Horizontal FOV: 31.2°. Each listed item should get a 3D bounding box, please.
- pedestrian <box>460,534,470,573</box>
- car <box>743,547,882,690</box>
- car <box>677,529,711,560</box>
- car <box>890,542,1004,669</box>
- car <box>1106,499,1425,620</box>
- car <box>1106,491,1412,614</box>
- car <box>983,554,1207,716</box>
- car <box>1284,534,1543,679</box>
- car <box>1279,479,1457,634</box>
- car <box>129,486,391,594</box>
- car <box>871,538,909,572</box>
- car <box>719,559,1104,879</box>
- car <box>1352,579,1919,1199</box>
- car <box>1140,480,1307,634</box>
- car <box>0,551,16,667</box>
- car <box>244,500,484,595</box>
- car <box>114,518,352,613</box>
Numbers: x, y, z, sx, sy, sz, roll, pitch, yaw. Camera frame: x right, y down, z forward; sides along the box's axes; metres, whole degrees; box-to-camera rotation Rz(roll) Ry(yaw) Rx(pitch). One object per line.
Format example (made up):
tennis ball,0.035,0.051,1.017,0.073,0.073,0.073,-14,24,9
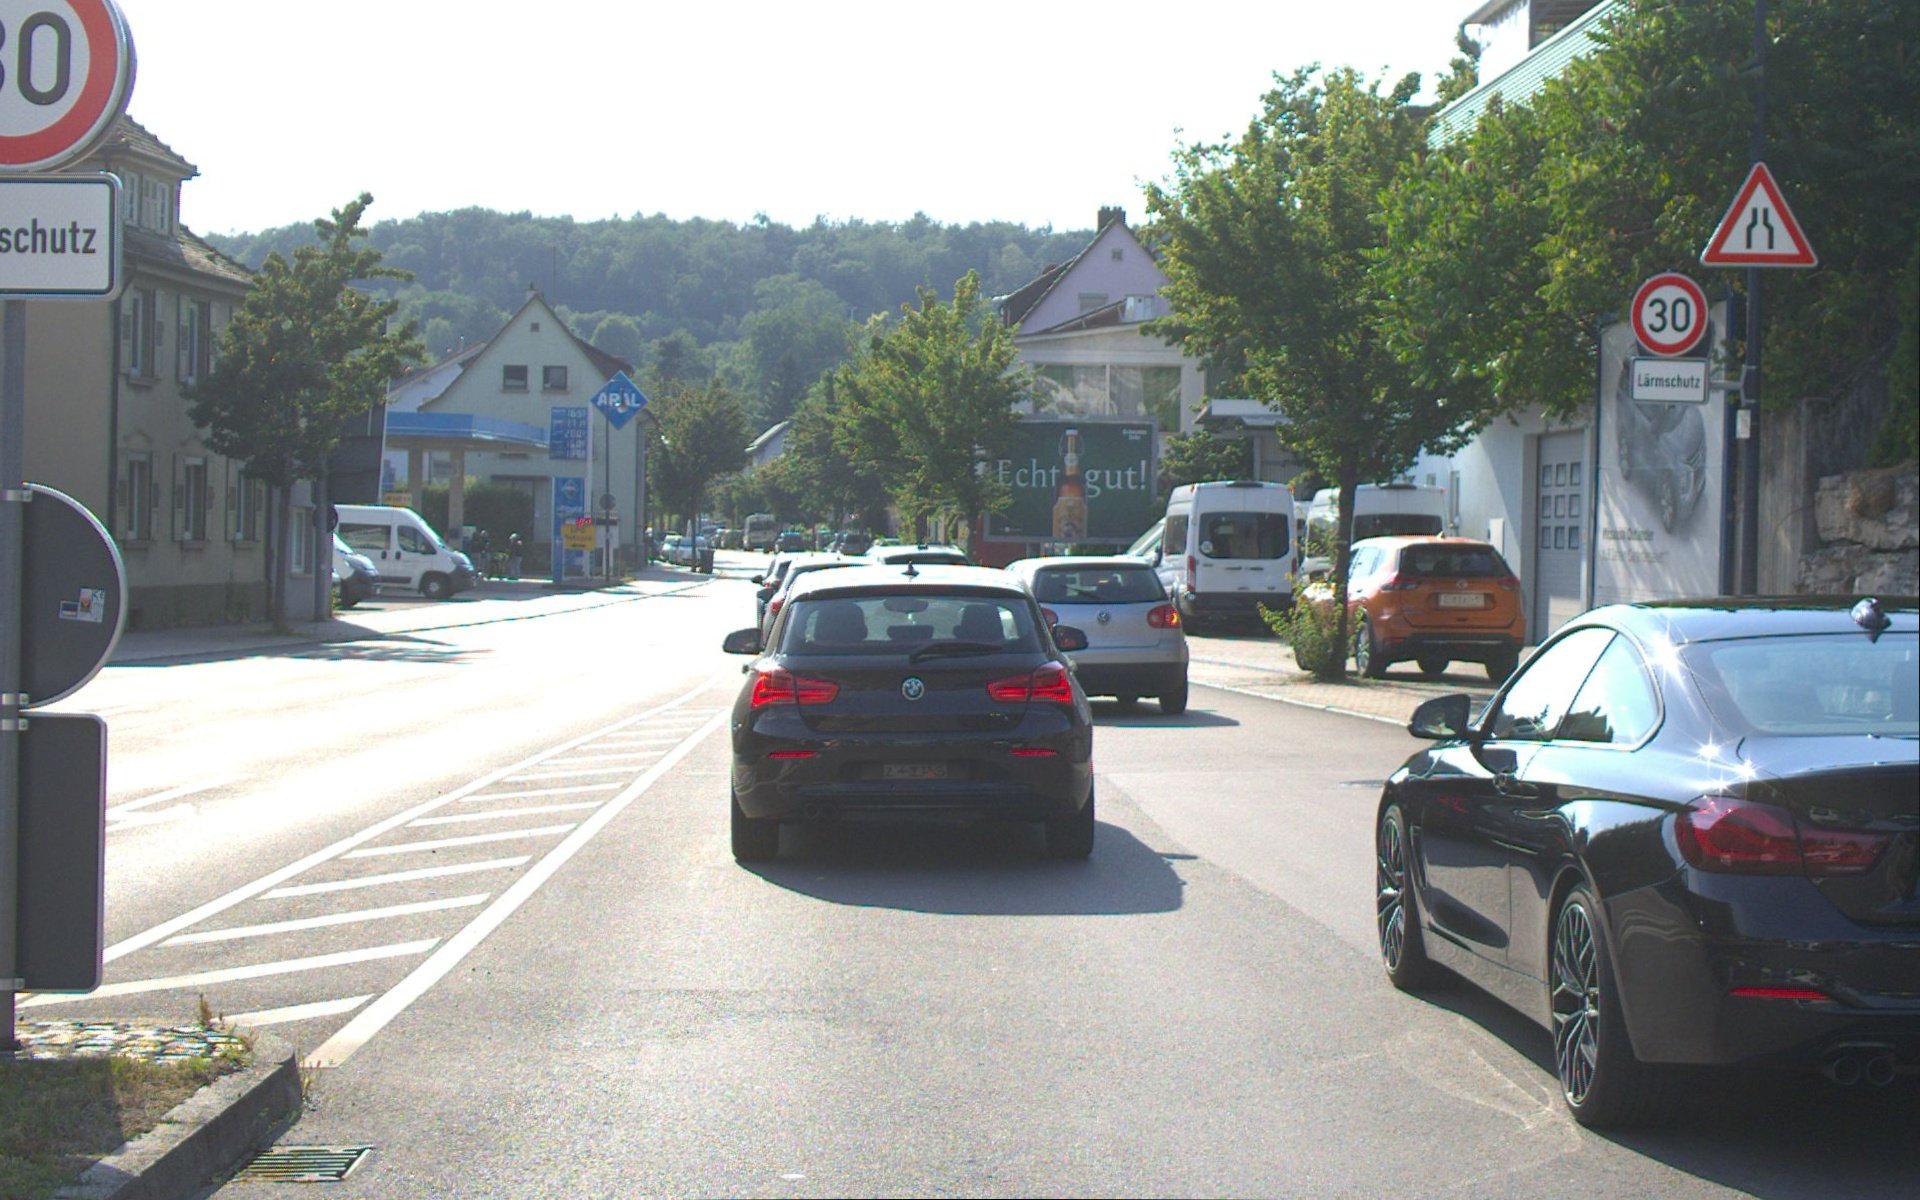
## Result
pedestrian,-17.829,-1.674,123.873,0.262,1.378,0.288,0,1,-27
car,-1.765,0.184,41.497,1.591,1.595,3.894,0,1,-2
car,-13.348,-2.797,172.371,1.596,1.480,3.475,1,1,-3
car,-0.178,0.045,50.129,1.603,1.761,3.411,0,1,0
car,6.012,-0.818,68.176,6.043,2.355,2.044,0,1,-4
car,6.155,-0.991,71.225,6.043,2.507,2.044,0,1,-4
car,1.223,0.288,32.501,1.753,1.409,3.422,0,1,-4
car,5.375,0.042,41.352,1.834,1.643,4.540,0,1,-10
car,7.469,-0.844,63.628,2.111,2.712,6.444,0,1,-4
car,-17.113,-1.490,84.178,5.920,2.471,2.194,1,3,2
car,-3.250,-2.091,159.655,1.596,1.480,3.475,1,1,-3
car,-0.250,0.529,17.620,1.771,1.451,3.516,0,1,-1
car,2.348,0.668,10.214,1.699,1.364,4.263,0,2,-2
car,4.745,-0.822,63.012,2.149,2.671,6.604,0,1,-4
car,-13.309,0.116,42.797,1.756,1.474,4.000,3,2,3
car,-16.245,-1.443,93.934,6.158,2.436,2.250,1,1,-2
car,-16.511,-0.805,78.181,4.976,1.992,1.936,1,3,1
